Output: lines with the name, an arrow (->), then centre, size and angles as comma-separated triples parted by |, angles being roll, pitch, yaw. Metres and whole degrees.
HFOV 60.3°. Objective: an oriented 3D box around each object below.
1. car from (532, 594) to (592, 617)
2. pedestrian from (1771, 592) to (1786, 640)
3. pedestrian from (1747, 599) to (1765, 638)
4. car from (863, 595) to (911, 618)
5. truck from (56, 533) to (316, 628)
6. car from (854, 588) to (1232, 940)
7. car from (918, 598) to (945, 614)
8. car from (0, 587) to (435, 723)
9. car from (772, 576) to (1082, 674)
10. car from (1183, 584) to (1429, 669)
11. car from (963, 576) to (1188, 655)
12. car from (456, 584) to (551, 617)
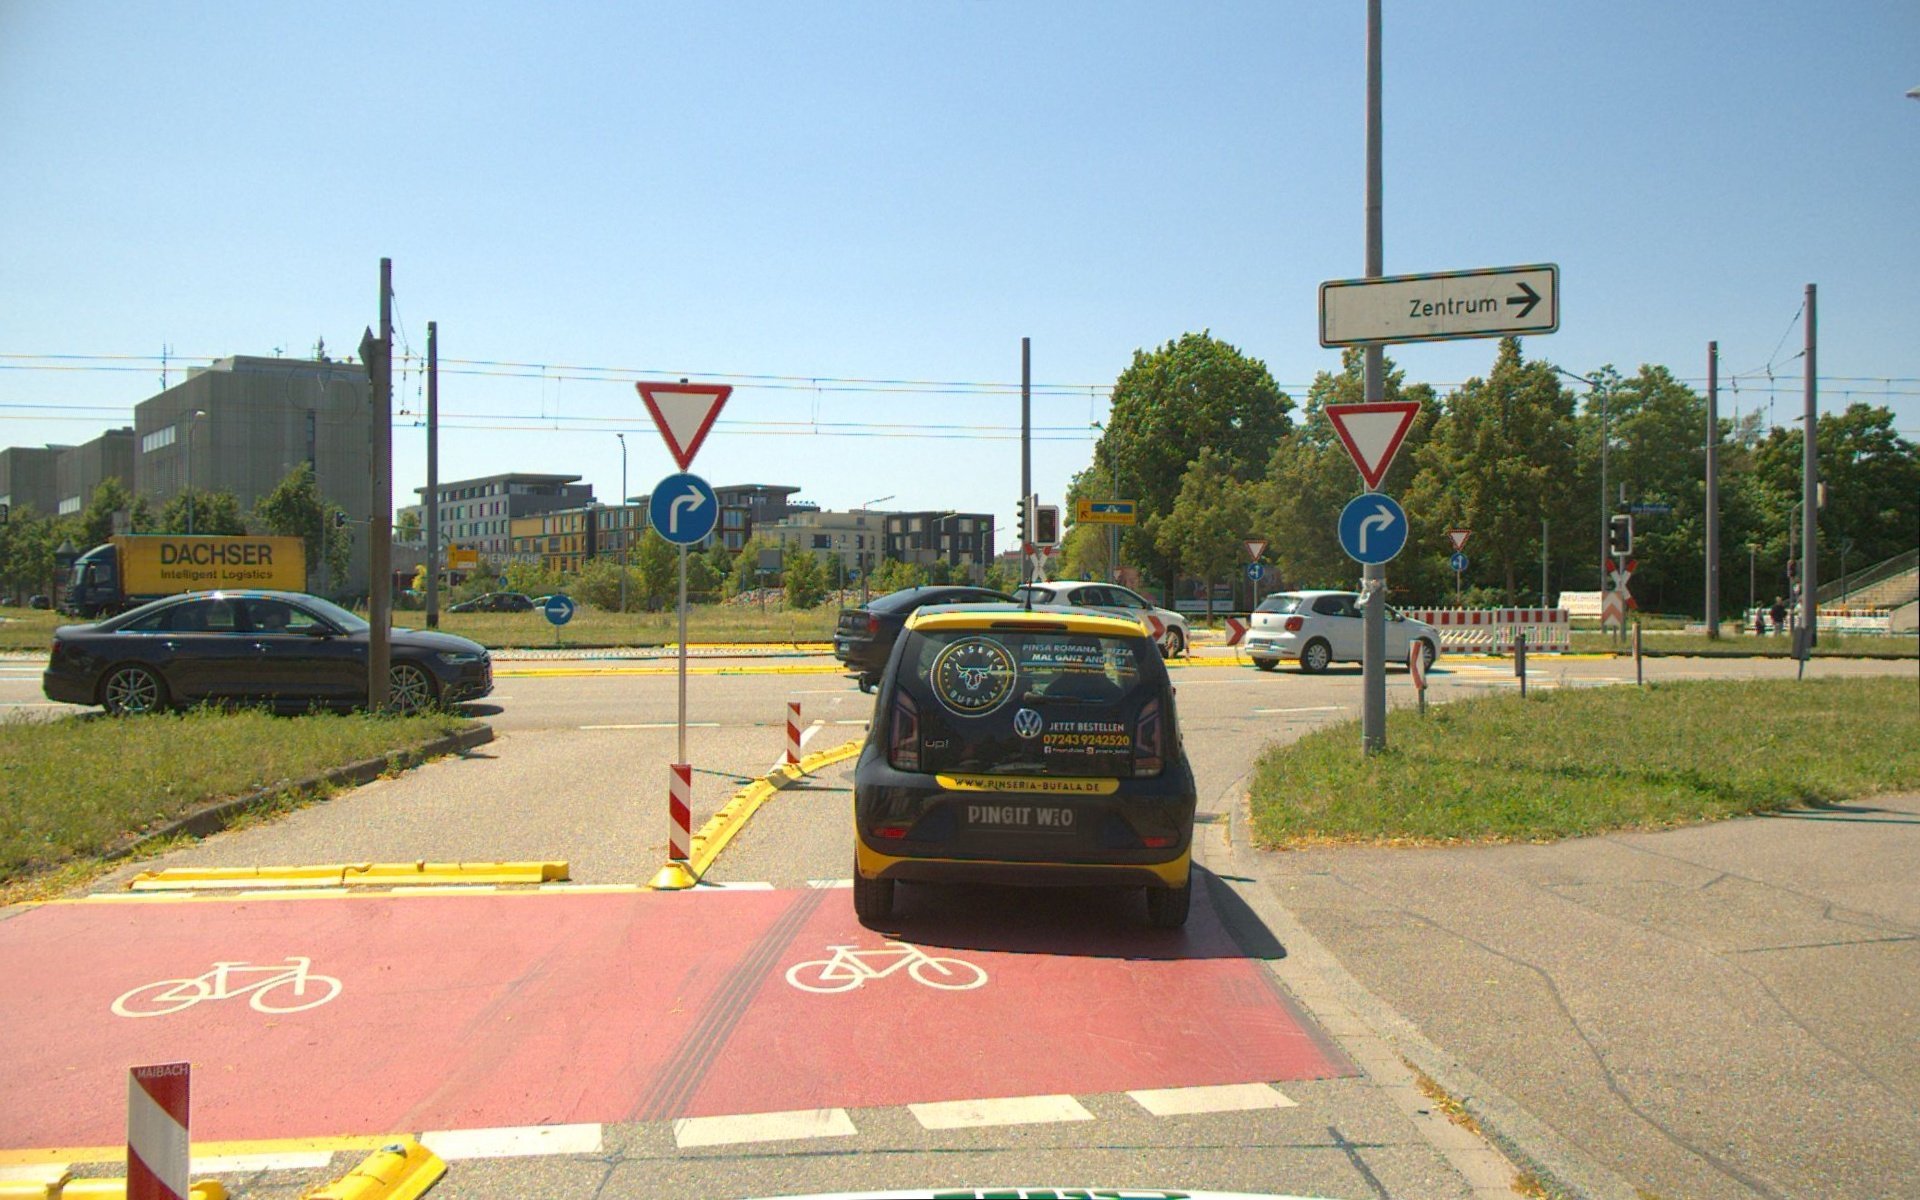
car -> -20.909, 0.292, 86.940 | 2.827, 1.175, 1.205 | 0, 0, 0
pedestrian -> 30.394, 0.582, 61.432 | 0.438, 1.769, 0.291 | 0, 0, 10
pedestrian -> 29.243, 0.676, 60.759 | 0.509, 1.454, 0.352 | 0, 0, 8
car -> -4.366, 0.380, 99.447 | 1.731, 1.368, 3.322 | 0, 0, 21
truck -> -32.188, -0.783, 69.147 | 9.528, 3.723, 2.668 | 0, 0, -41
car -> 0.306, 0.691, 9.021 | 1.586, 1.477, 3.985 | 1, 0, -2
car -> -1.981, 0.421, 116.206 | 1.461, 1.108, 3.523 | 0, 0, 6
car -> -8.666, 0.591, 19.490 | 4.555, 1.474, 1.993 | 0, 0, -13
car -> -0.517, 0.403, 26.925 | 4.688, 1.474, 1.982 | 1, 0, -28
car -> 6.412, 0.484, 30.604 | 4.287, 1.474, 1.840 | 1, 0, -28
car -> 2.364, 0.284, 33.571 | 4.316, 1.512, 1.976 | 0, 0, -35
car -> -20.787, 0.006, 75.363 | 3.982, 1.486, 1.717 | 0, 0, -24
